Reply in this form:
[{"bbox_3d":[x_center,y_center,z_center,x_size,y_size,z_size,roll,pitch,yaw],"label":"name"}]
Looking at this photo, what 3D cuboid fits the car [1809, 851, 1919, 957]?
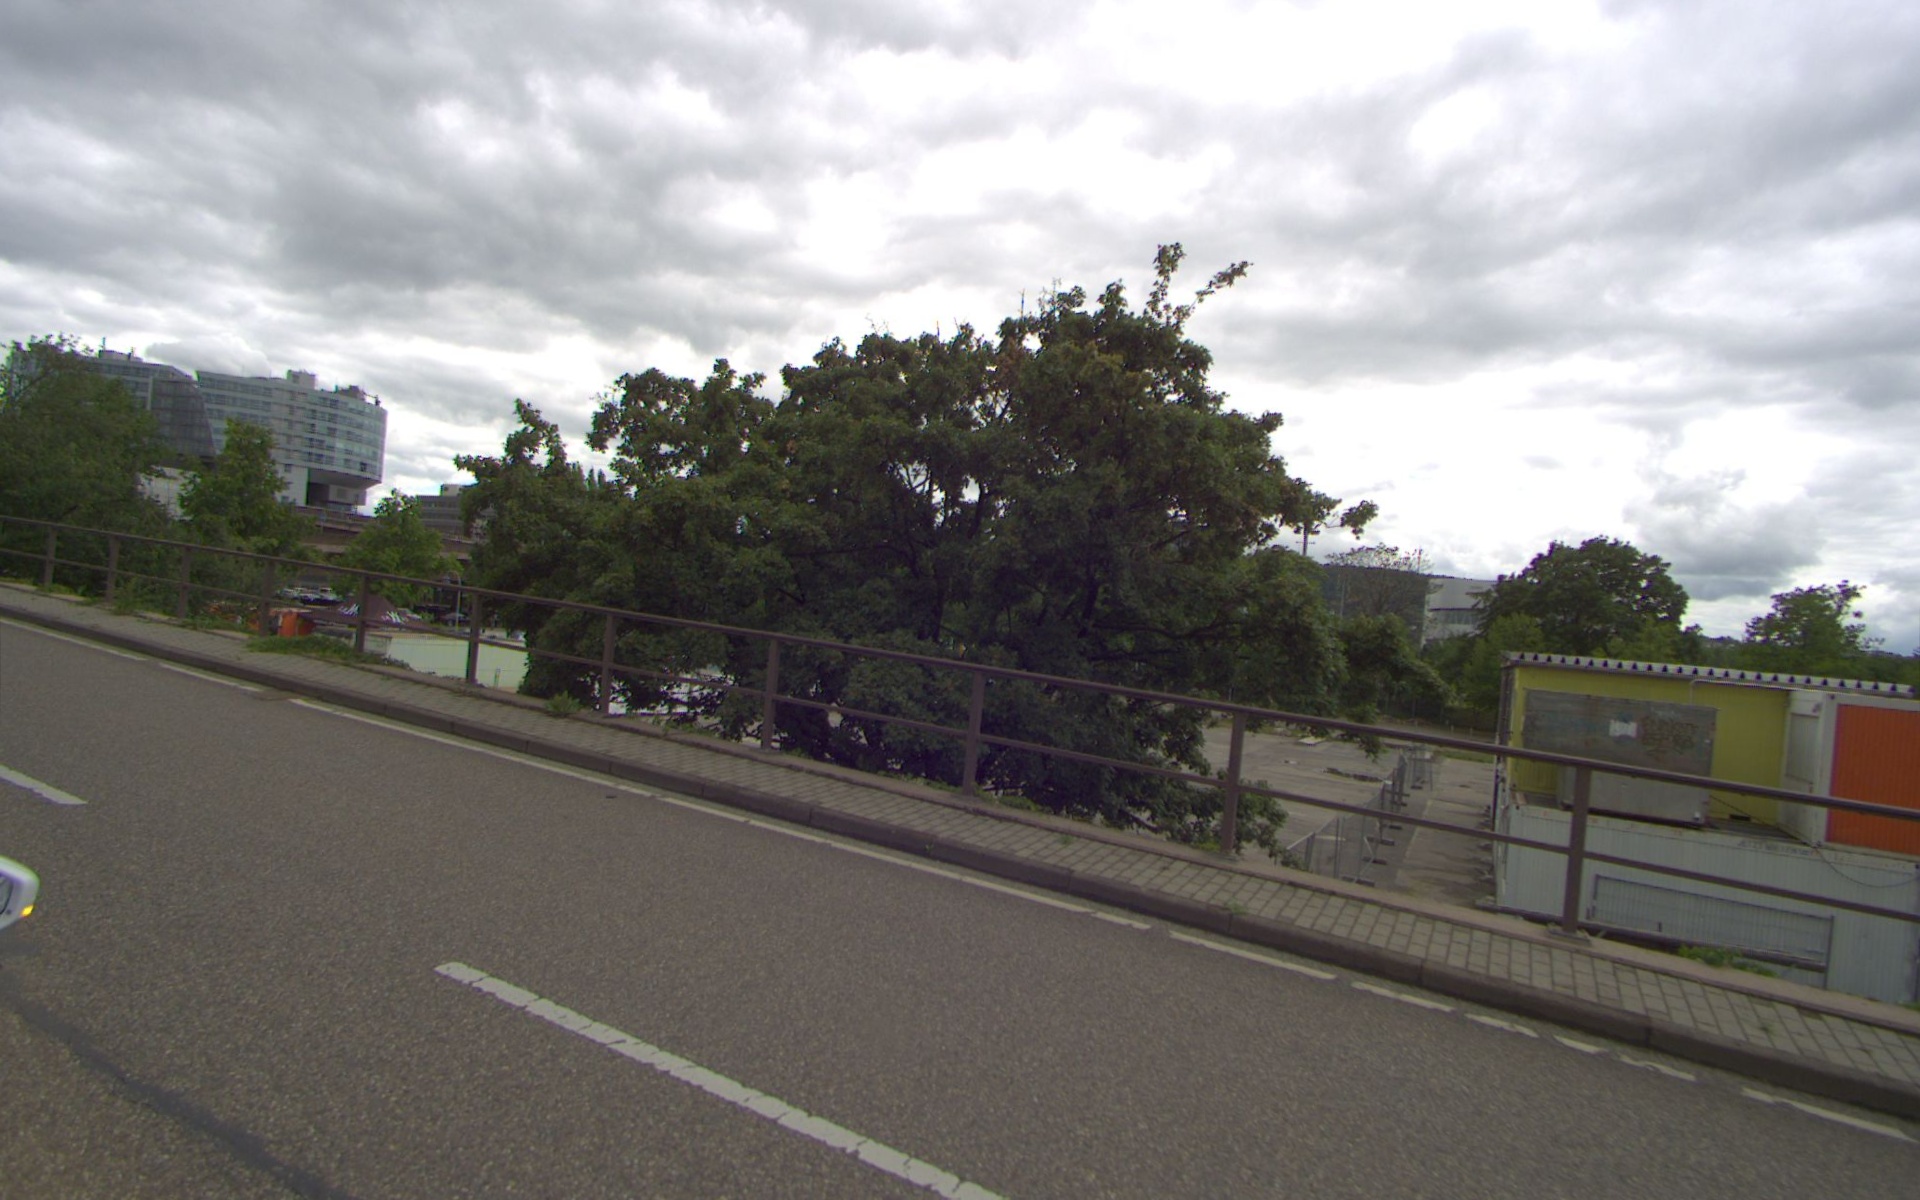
[{"bbox_3d":[22.904,7.541,25.089,1.967,1.552,3.990,6,0,33],"label":"car"}]
